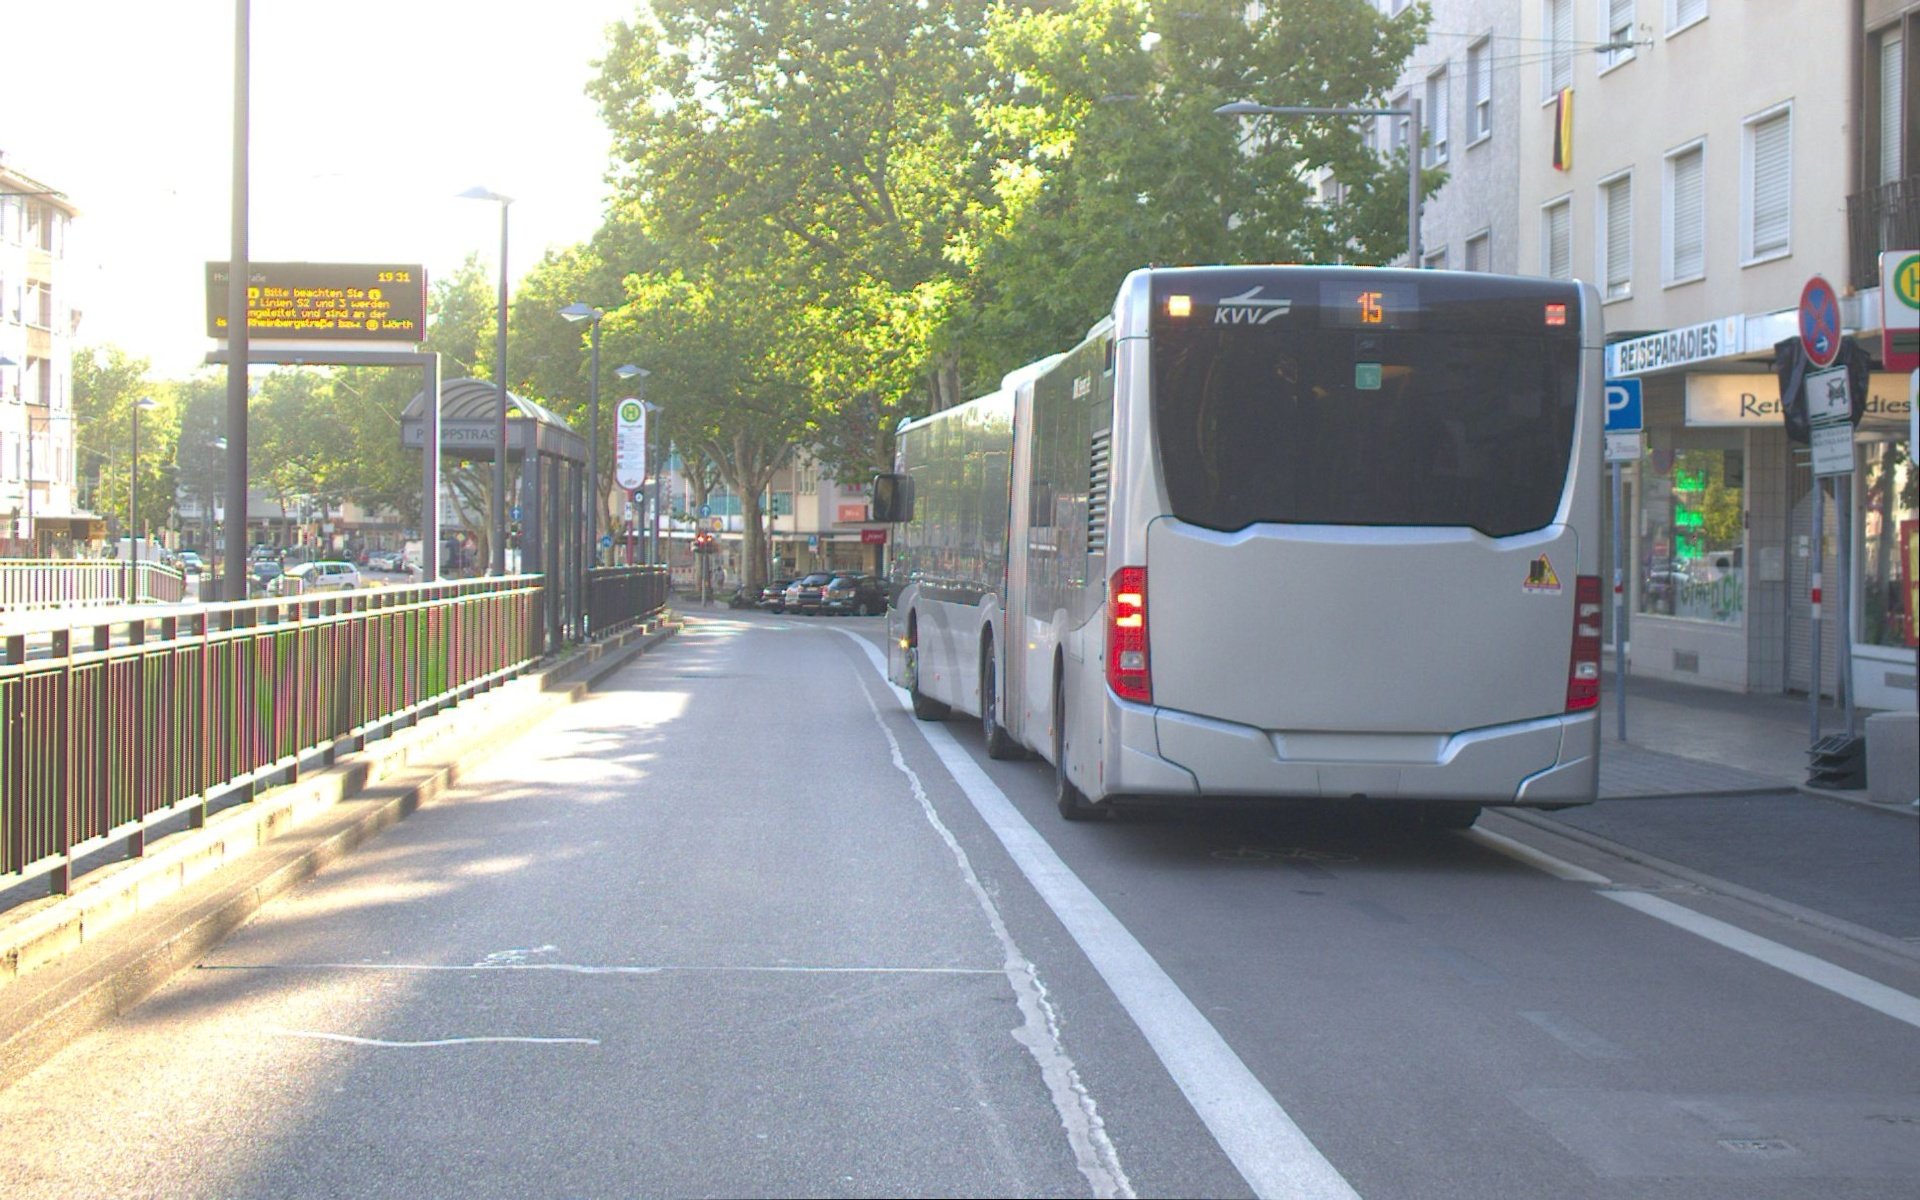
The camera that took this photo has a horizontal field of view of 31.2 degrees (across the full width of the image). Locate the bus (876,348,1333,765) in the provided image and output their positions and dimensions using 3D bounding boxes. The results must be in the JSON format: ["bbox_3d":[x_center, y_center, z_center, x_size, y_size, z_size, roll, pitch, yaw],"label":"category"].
[{"bbox_3d":[0.998,-0.407,30.619,2.696,3.107,9.072,1,1,-6],"label":"bus"}]

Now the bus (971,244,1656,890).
[{"bbox_3d":[1.751,-0.238,21.524,2.696,3.107,9.383,1,1,-4],"label":"bus"}]

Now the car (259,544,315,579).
[{"bbox_3d":[-31.505,-1.806,161.089,1.993,1.645,4.000,0,1,-3],"label":"car"}]

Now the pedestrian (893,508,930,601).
[{"bbox_3d":[-1.326,-1.242,93.859,0.889,2.537,1.163,0,1,4],"label":"pedestrian"}]
